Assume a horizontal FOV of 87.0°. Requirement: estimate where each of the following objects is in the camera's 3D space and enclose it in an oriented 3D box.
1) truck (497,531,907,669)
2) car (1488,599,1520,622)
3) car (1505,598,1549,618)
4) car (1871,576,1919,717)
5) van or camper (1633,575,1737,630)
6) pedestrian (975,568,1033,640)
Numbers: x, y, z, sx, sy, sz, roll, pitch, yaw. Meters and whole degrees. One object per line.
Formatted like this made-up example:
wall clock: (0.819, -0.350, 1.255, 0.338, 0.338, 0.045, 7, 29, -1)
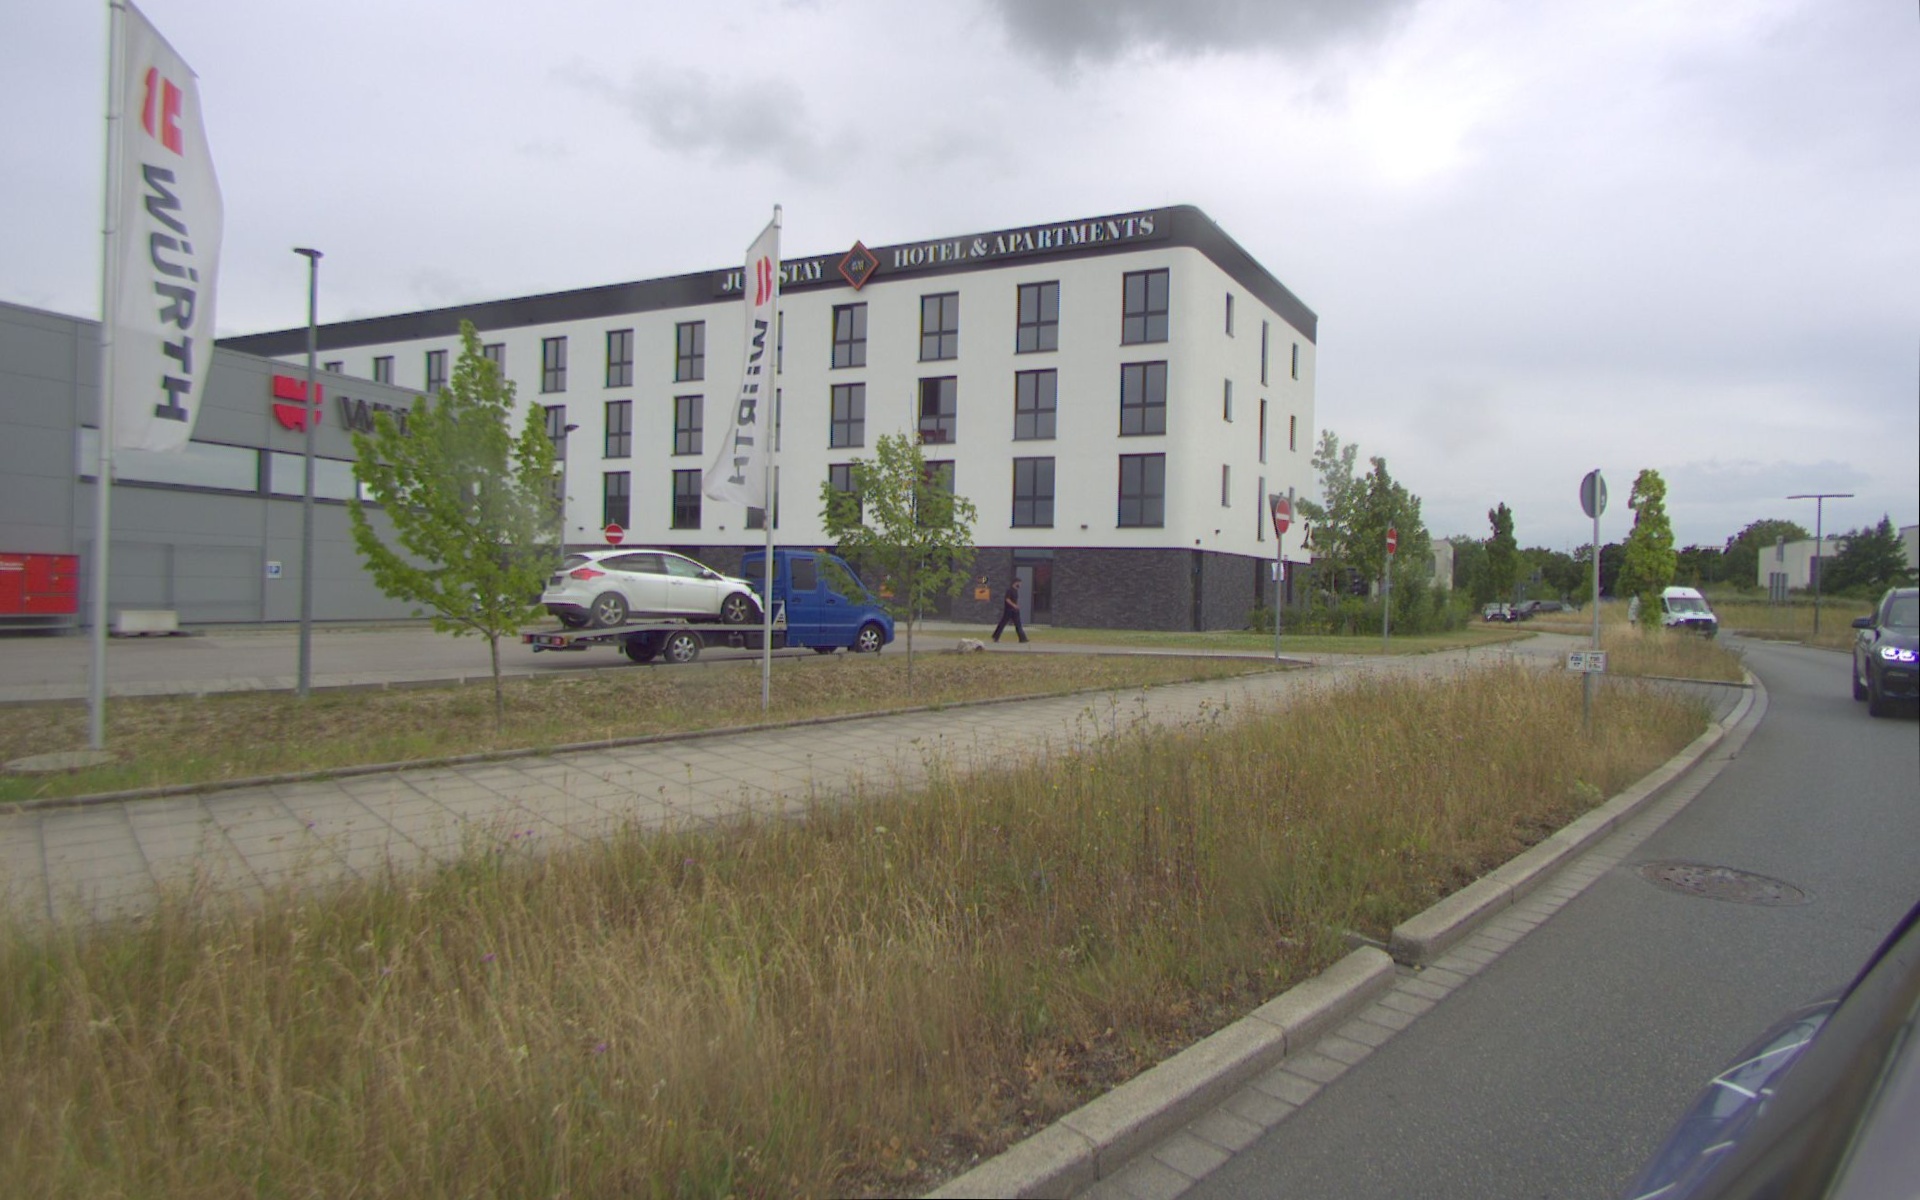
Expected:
truck: (-4.908, -0.025, 20.776, 8.074, 2.355, 2.230, 0, 1, -43)
car: (39.709, 0.752, 73.945, 1.982, 1.605, 3.961, 1, 1, 28)
car: (47.065, 0.658, 83.940, 3.930, 1.605, 1.970, 0, 1, -41)
car: (13.195, 0.557, 13.153, 1.992, 1.685, 3.939, 0, 0, 42)
van or camper: (37.350, 0.065, 52.348, 2.231, 2.649, 5.675, 1, 1, 13)
pedestrian: (1.201, 0.086, 27.556, 1.189, 1.880, 1.060, 2, 3, 39)
